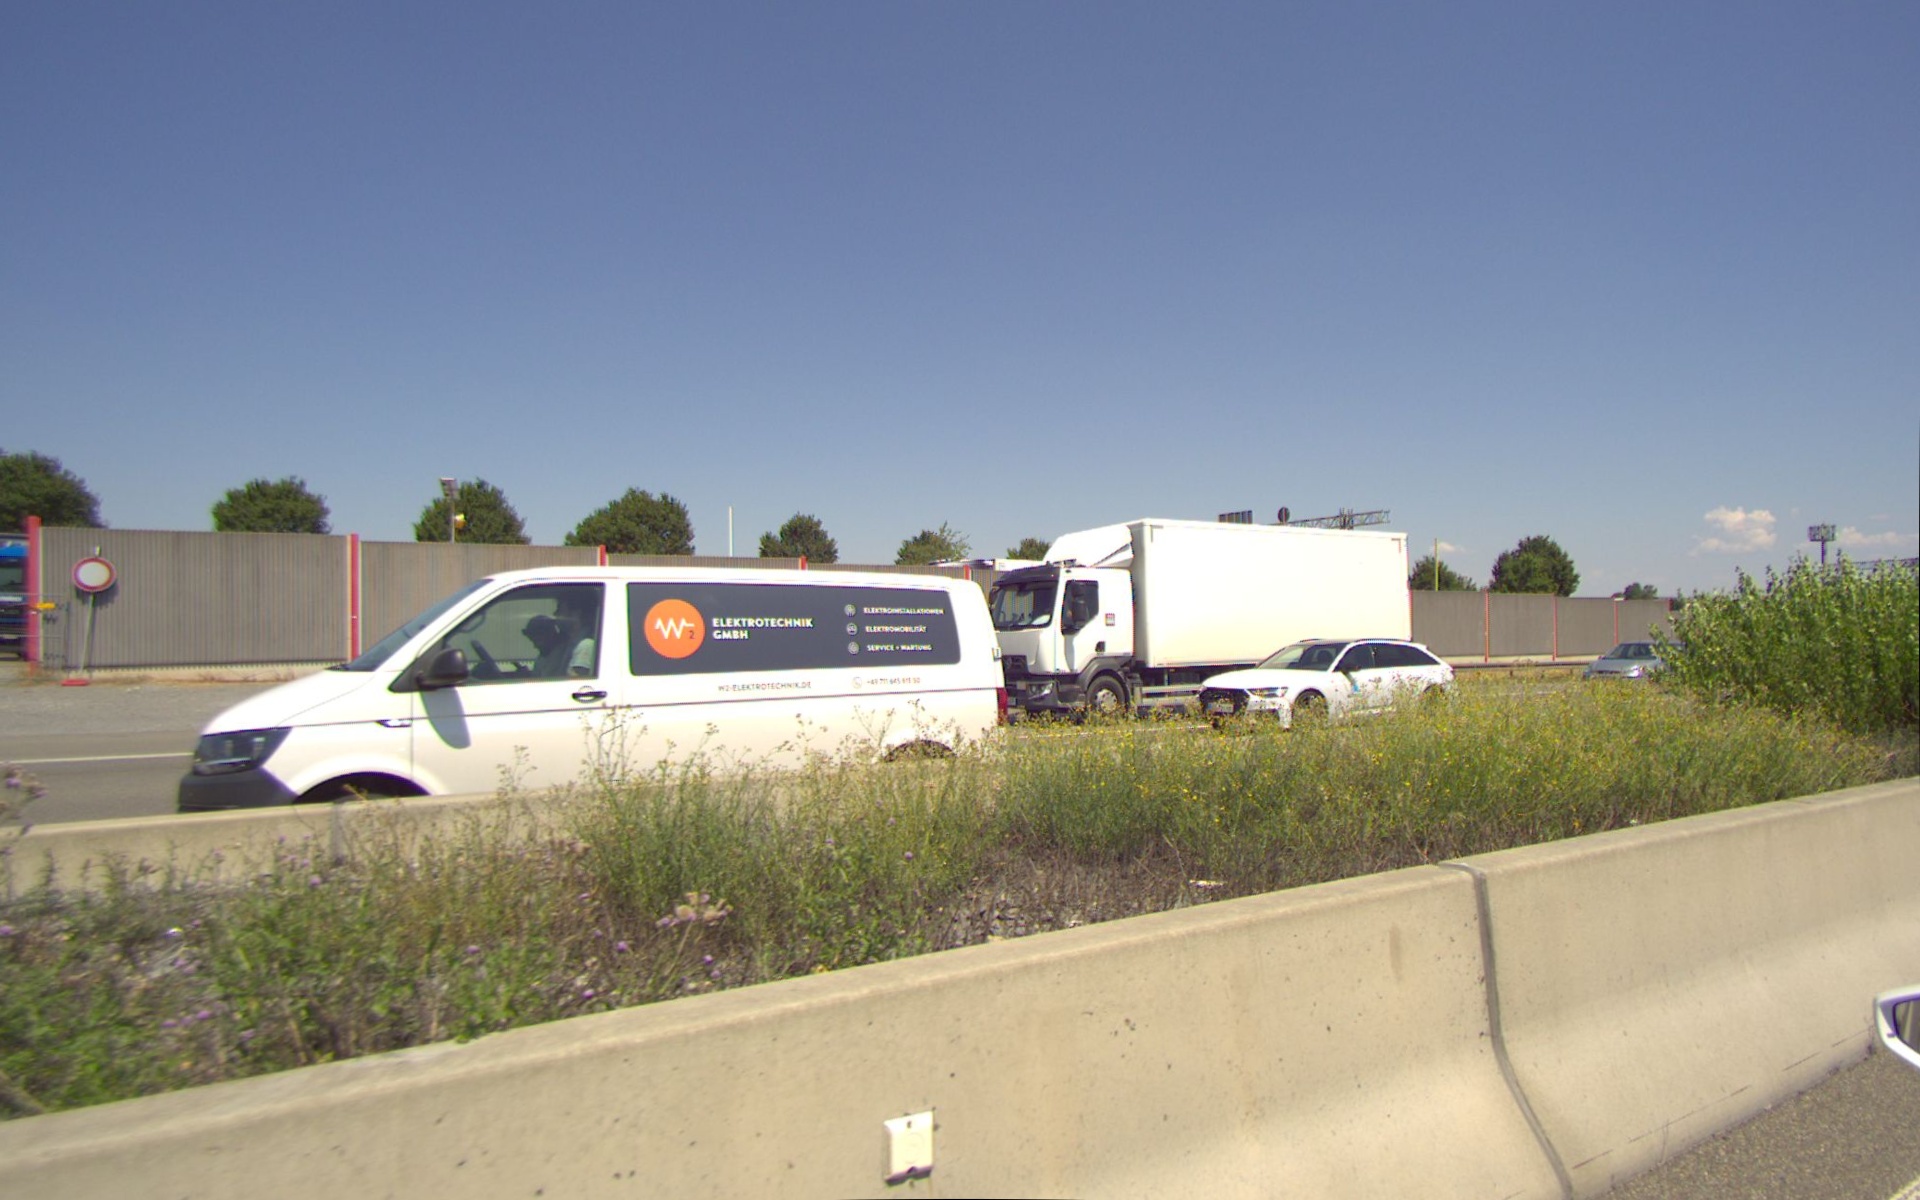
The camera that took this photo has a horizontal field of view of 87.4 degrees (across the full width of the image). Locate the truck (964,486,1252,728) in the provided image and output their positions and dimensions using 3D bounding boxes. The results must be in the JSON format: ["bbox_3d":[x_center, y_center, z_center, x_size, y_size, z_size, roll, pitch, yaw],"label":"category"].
[{"bbox_3d":[2.747,0.200,18.579,4.670,3.924,2.628,1,-2,-30],"label":"truck"}]

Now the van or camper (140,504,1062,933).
[{"bbox_3d":[-2.054,0.629,7.018,5.380,2.040,1.984,2,-1,-30],"label":"van or camper"}]

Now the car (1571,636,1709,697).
[{"bbox_3d":[19.021,1.813,28.074,3.953,1.539,1.647,1,-1,-30],"label":"car"}]

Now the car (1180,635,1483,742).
[{"bbox_3d":[6.027,1.324,16.102,5.045,1.449,1.782,2,-1,-30],"label":"car"}]

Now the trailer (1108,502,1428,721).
[{"bbox_3d":[6.448,0.317,20.764,6.539,3.924,2.635,1,-2,-30],"label":"trailer"}]
